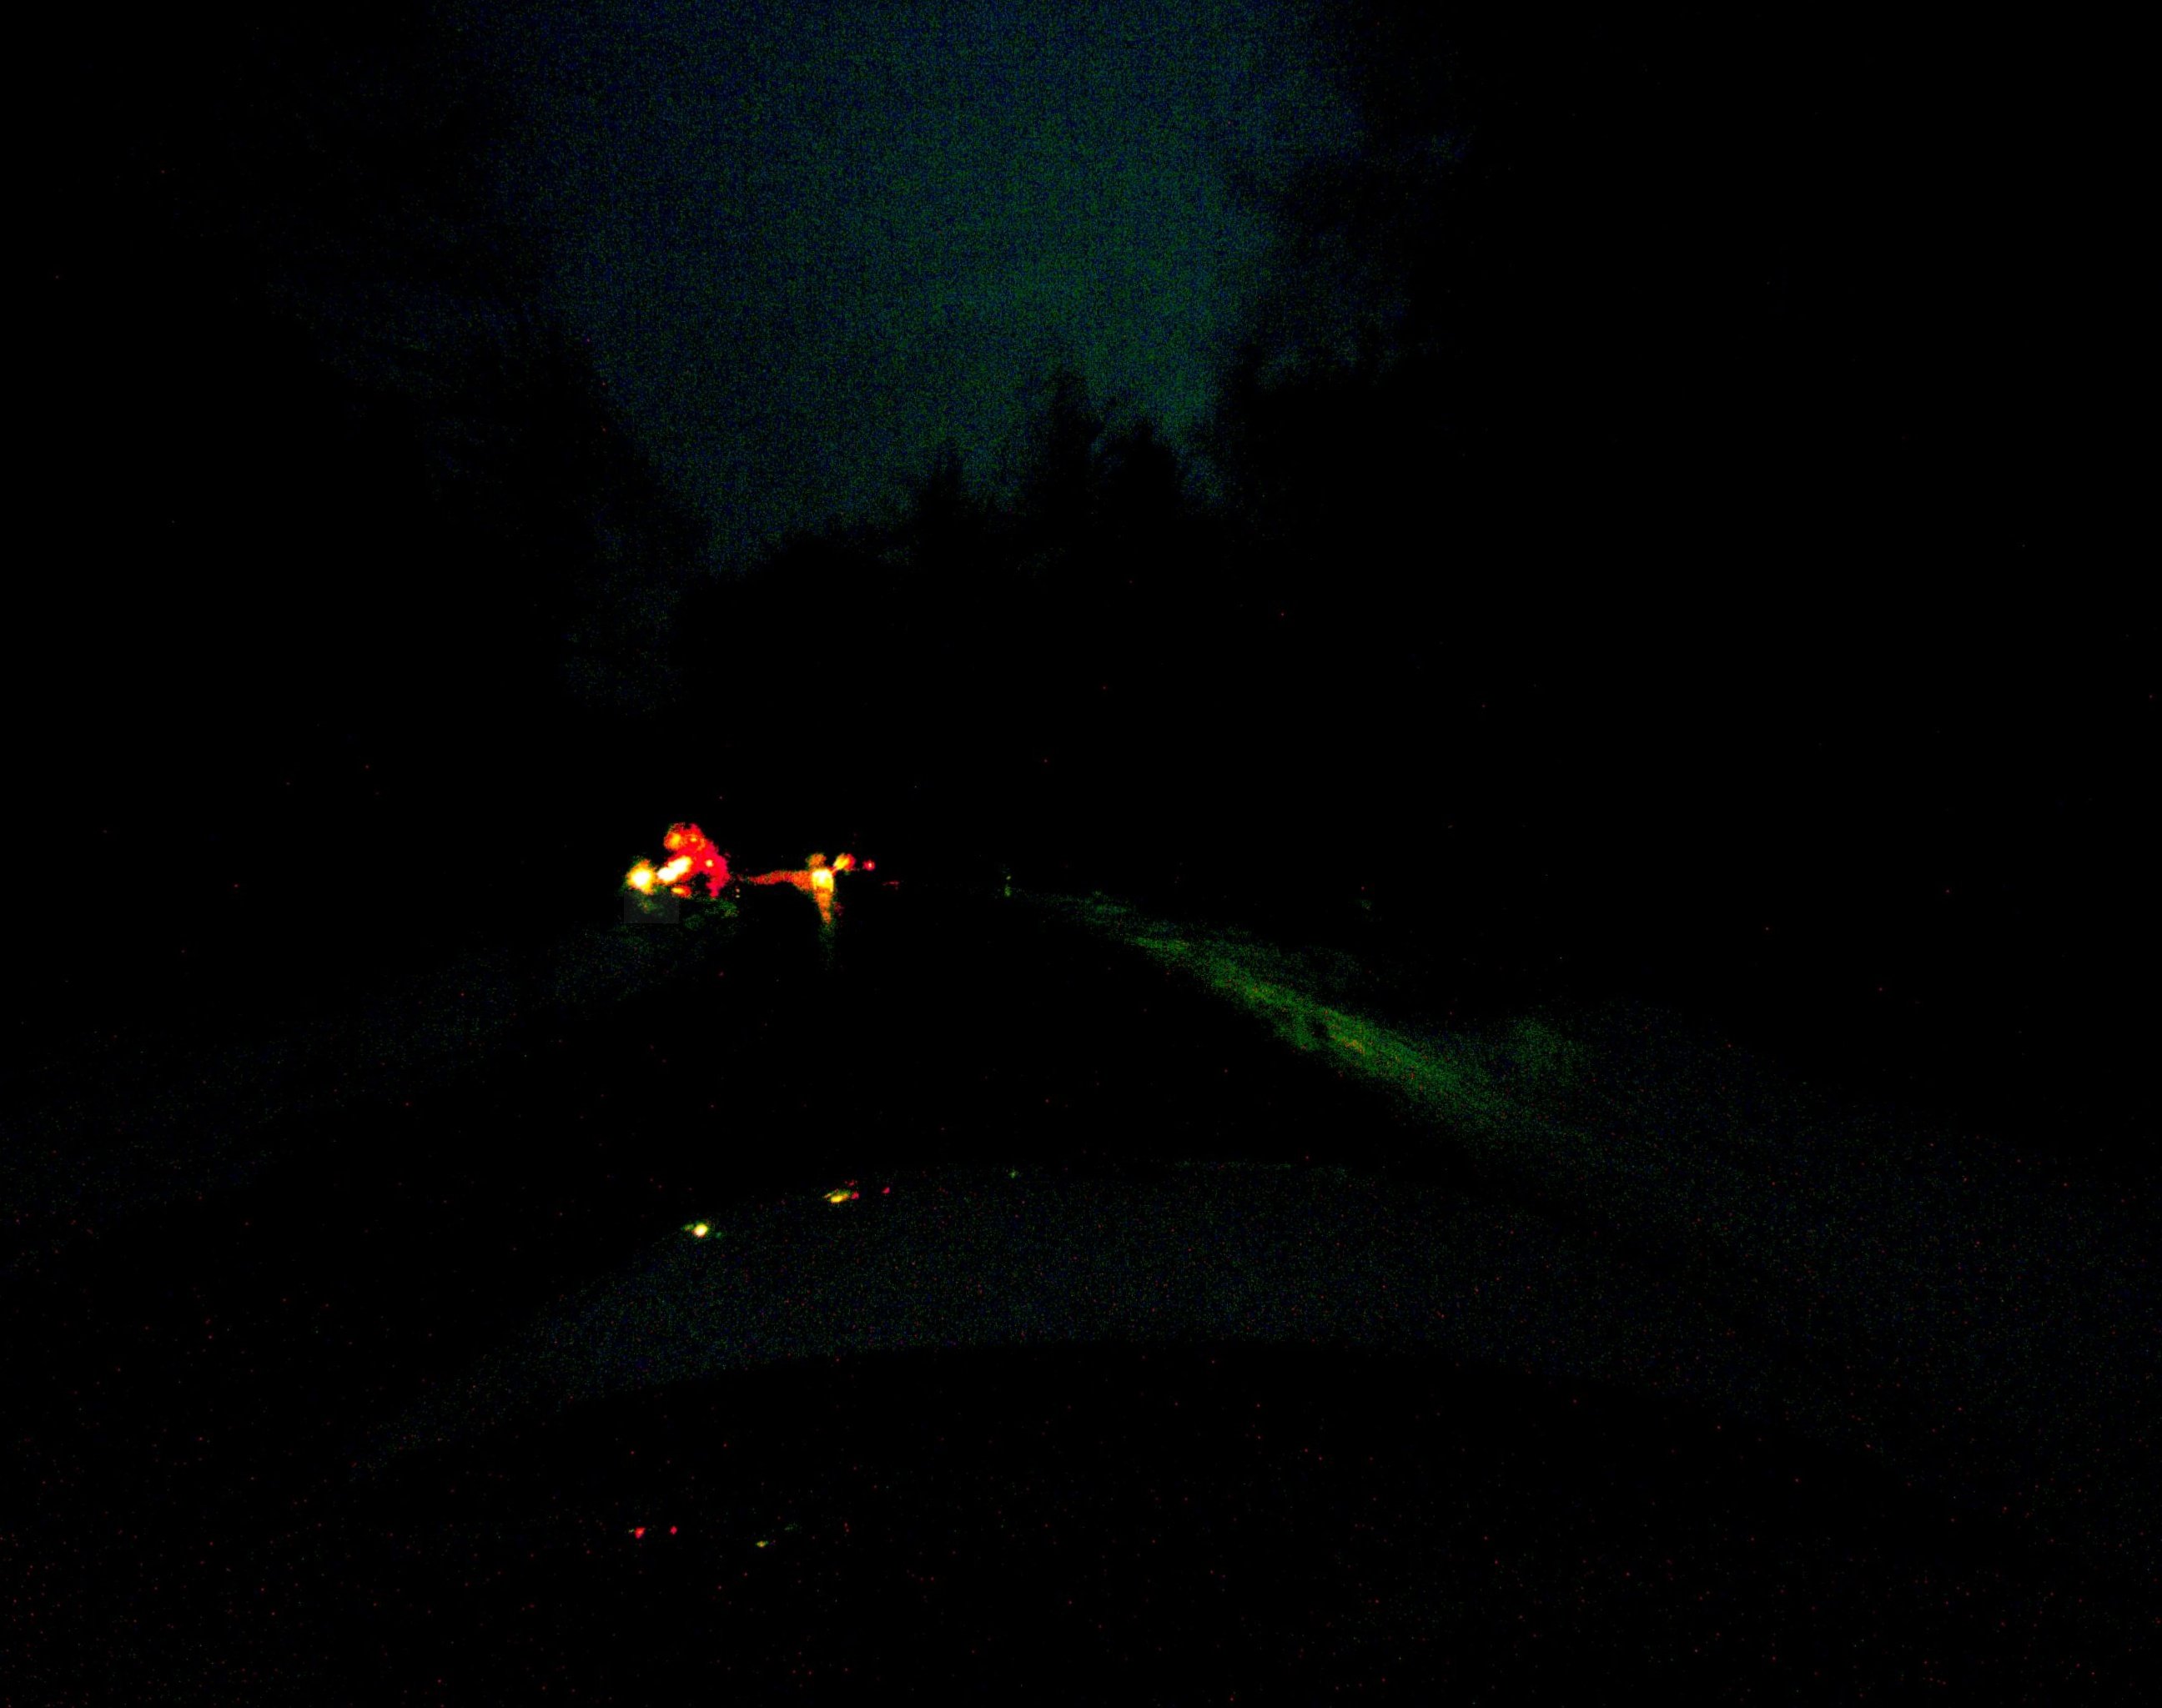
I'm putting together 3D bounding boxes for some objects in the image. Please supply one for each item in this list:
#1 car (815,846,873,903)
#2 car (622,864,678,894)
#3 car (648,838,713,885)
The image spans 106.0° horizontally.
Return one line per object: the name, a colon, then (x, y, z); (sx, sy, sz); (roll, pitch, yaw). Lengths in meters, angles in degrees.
car: (-9.705, 0.796, 33.188); (2.000, 2.051, 3.975); (-4, 1, -19)
car: (-24.171, 1.371, 45.635); (1.789, 1.492, 4.495); (-5, 3, -40)
car: (-24.853, 0.475, 50.463); (2.272, 2.645, 4.946); (-4, 1, -42)
